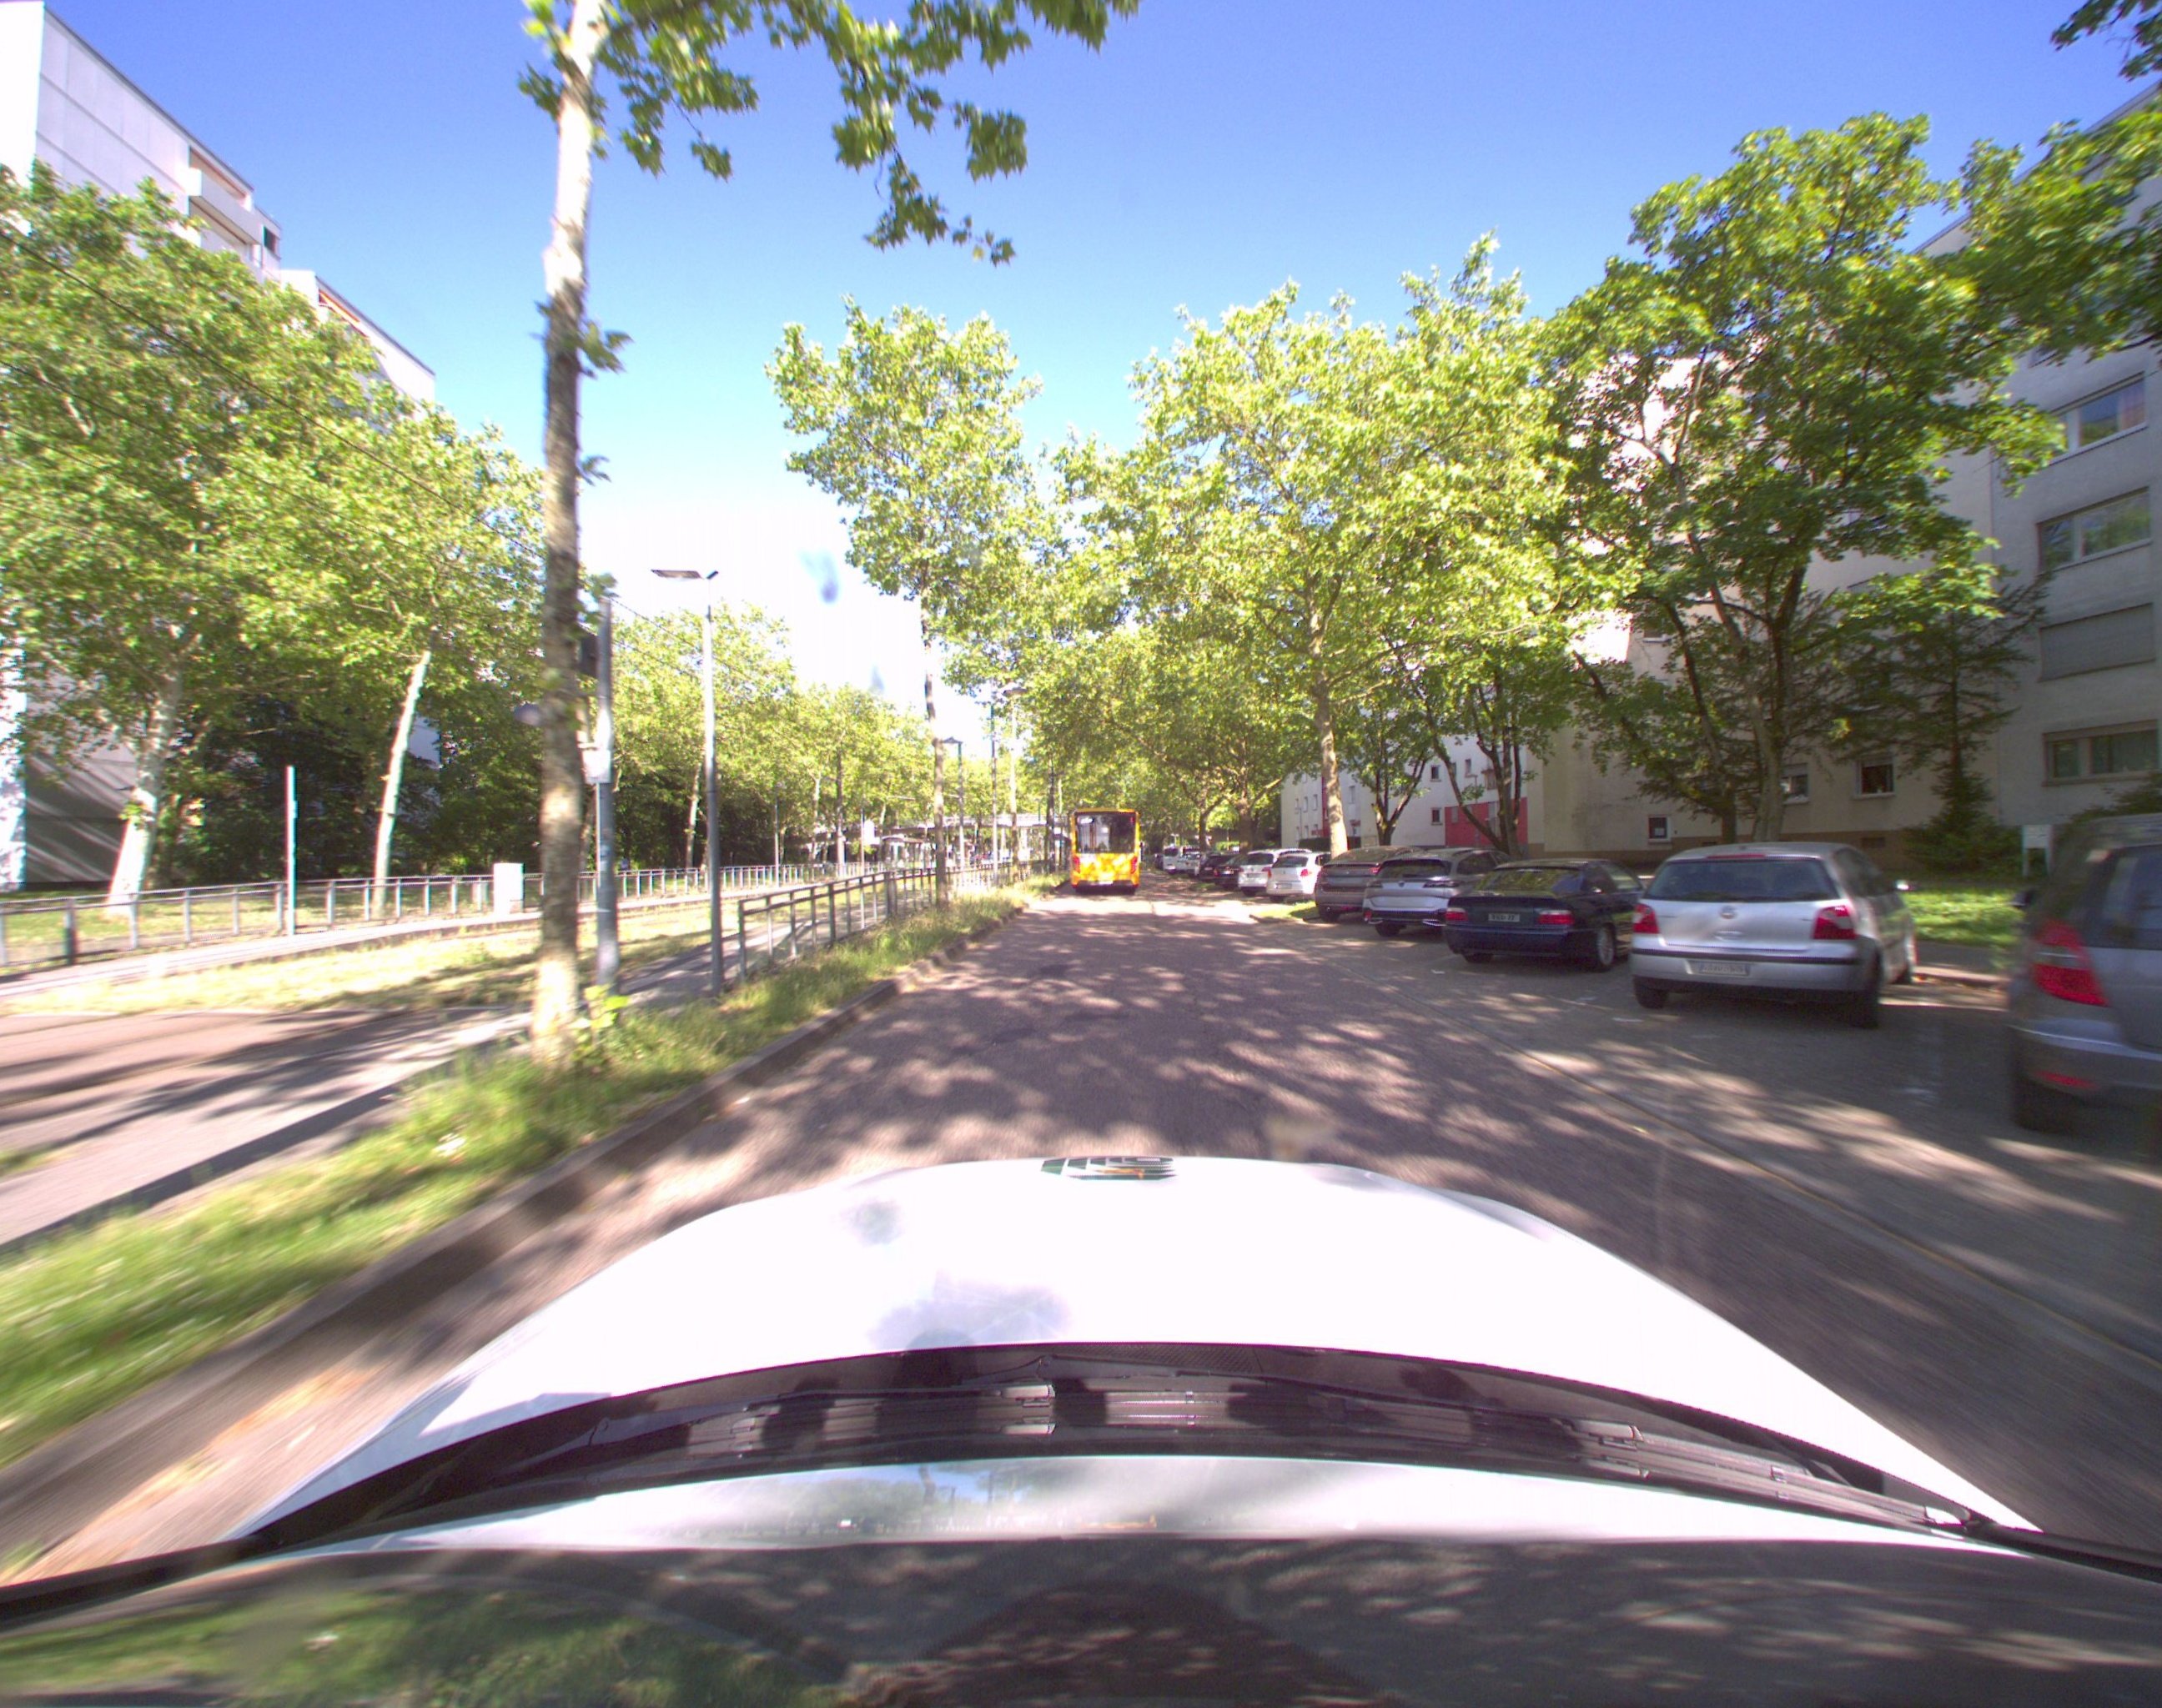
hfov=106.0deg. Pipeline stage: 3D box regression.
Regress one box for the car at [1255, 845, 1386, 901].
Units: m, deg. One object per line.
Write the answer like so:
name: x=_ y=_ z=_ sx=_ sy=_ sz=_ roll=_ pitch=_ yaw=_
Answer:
car: x=7.197 y=0.534 z=24.338 sx=4.021 sy=1.444 sz=1.779 roll=-2 pitch=0 yaw=-40

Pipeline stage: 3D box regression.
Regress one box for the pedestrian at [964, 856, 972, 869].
pedestrian: x=-11.757 y=0.882 z=84.808 sx=0.775 sy=1.238 sz=0.722 roll=-1 pitch=0 yaw=0

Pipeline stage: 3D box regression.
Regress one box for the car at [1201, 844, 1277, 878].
car: x=8.353 y=0.362 z=42.908 sx=4.022 sy=1.589 sz=1.778 roll=-3 pitch=0 yaw=-41

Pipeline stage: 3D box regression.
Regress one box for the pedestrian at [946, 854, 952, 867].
pedestrian: x=-16.792 y=0.845 z=103.532 sx=0.646 sy=1.661 sz=0.649 roll=-1 pitch=0 yaw=-3

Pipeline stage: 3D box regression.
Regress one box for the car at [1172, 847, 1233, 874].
car: x=8.281 y=0.432 z=55.352 sx=4.080 sy=1.580 sz=1.811 roll=-3 pitch=0 yaw=-41

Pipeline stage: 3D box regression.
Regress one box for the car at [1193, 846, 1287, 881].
car: x=7.696 y=0.438 z=39.166 sx=4.430 sy=1.428 sz=1.929 roll=-3 pitch=0 yaw=-38

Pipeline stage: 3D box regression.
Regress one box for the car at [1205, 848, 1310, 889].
car: x=7.077 y=0.554 z=32.386 sx=4.616 sy=1.422 sz=1.778 roll=-2 pitch=0 yaw=-44

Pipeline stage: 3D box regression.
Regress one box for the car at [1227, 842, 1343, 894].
car: x=7.067 y=0.455 z=28.043 sx=4.020 sy=1.576 sz=1.779 roll=-2 pitch=0 yaw=-39

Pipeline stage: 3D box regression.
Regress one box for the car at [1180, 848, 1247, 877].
car: x=8.013 y=0.469 z=49.092 sx=1.777 sy=1.510 sz=4.237 roll=-4 pitch=0 yaw=44

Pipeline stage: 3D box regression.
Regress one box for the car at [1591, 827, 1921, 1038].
car: x=6.541 y=0.555 z=7.769 sx=3.603 sy=1.492 sz=1.779 roll=-2 pitch=0 yaw=-40

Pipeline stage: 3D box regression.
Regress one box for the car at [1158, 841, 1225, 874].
car: x=7.953 y=0.233 z=58.495 sx=4.613 sy=2.052 sz=1.994 roll=-3 pitch=0 yaw=-39

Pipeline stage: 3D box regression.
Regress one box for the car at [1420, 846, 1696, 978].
car: x=6.453 y=0.642 z=10.846 sx=4.167 sy=1.318 sz=1.779 roll=-2 pitch=0 yaw=-39

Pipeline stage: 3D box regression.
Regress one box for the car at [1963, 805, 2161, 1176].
car: x=6.289 y=0.517 z=4.421 sx=3.745 sy=1.593 sz=1.779 roll=-2 pitch=0 yaw=-39

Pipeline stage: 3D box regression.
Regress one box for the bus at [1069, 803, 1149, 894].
bus: x=1.152 y=-0.175 z=35.939 sx=2.889 sy=3.267 sz=12.219 roll=-1 pitch=0 yaw=1

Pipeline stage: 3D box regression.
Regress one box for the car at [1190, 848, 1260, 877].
car: x=8.178 y=0.481 z=46.059 sx=4.023 sy=1.419 sz=1.809 roll=-3 pitch=0 yaw=-44

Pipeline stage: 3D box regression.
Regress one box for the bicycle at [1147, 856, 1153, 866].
bicycle: x=9.006 y=0.914 z=106.910 sx=0.588 sy=1.183 sz=1.800 roll=-4 pitch=0 yaw=1

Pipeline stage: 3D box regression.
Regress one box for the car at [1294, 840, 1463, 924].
car: x=6.485 y=0.523 z=17.524 sx=1.777 sy=1.510 sz=4.202 roll=-2 pitch=0 yaw=45

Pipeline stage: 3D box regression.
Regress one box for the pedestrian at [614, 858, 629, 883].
pedestrian: x=-31.055 y=1.121 z=55.067 sx=0.645 sy=1.661 sz=0.650 roll=-1 pitch=0 yaw=3

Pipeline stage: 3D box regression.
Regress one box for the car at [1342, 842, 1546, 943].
car: x=6.427 y=0.583 z=14.242 sx=3.910 sy=1.445 sz=1.778 roll=-2 pitch=0 yaw=-42

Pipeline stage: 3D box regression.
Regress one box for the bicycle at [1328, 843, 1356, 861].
bicycle: x=18.319 y=-0.112 z=57.133 sx=1.790 sy=1.129 sz=0.499 roll=-4 pitch=0 yaw=-4

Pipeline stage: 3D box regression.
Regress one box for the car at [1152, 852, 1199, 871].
car: x=8.652 y=0.696 z=74.489 sx=4.278 sy=1.461 sz=1.779 roll=-3 pitch=0 yaw=-39

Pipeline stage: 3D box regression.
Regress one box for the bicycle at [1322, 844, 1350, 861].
bicycle: x=18.228 y=-0.110 z=58.235 sx=1.790 sy=1.129 sz=0.499 roll=-4 pitch=0 yaw=-4

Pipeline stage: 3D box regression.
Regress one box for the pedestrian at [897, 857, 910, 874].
pedestrian: x=-12.983 y=0.846 z=59.481 sx=0.763 sy=1.183 sz=0.763 roll=-1 pitch=0 yaw=2

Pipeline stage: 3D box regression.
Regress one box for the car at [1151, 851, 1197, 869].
car: x=8.885 y=0.594 z=77.791 sx=4.278 sy=1.461 sz=1.779 roll=-3 pitch=0 yaw=-39

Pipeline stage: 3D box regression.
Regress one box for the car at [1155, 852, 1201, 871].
car: x=8.545 y=0.668 z=71.544 sx=4.022 sy=1.468 sz=1.761 roll=-3 pitch=0 yaw=-41
